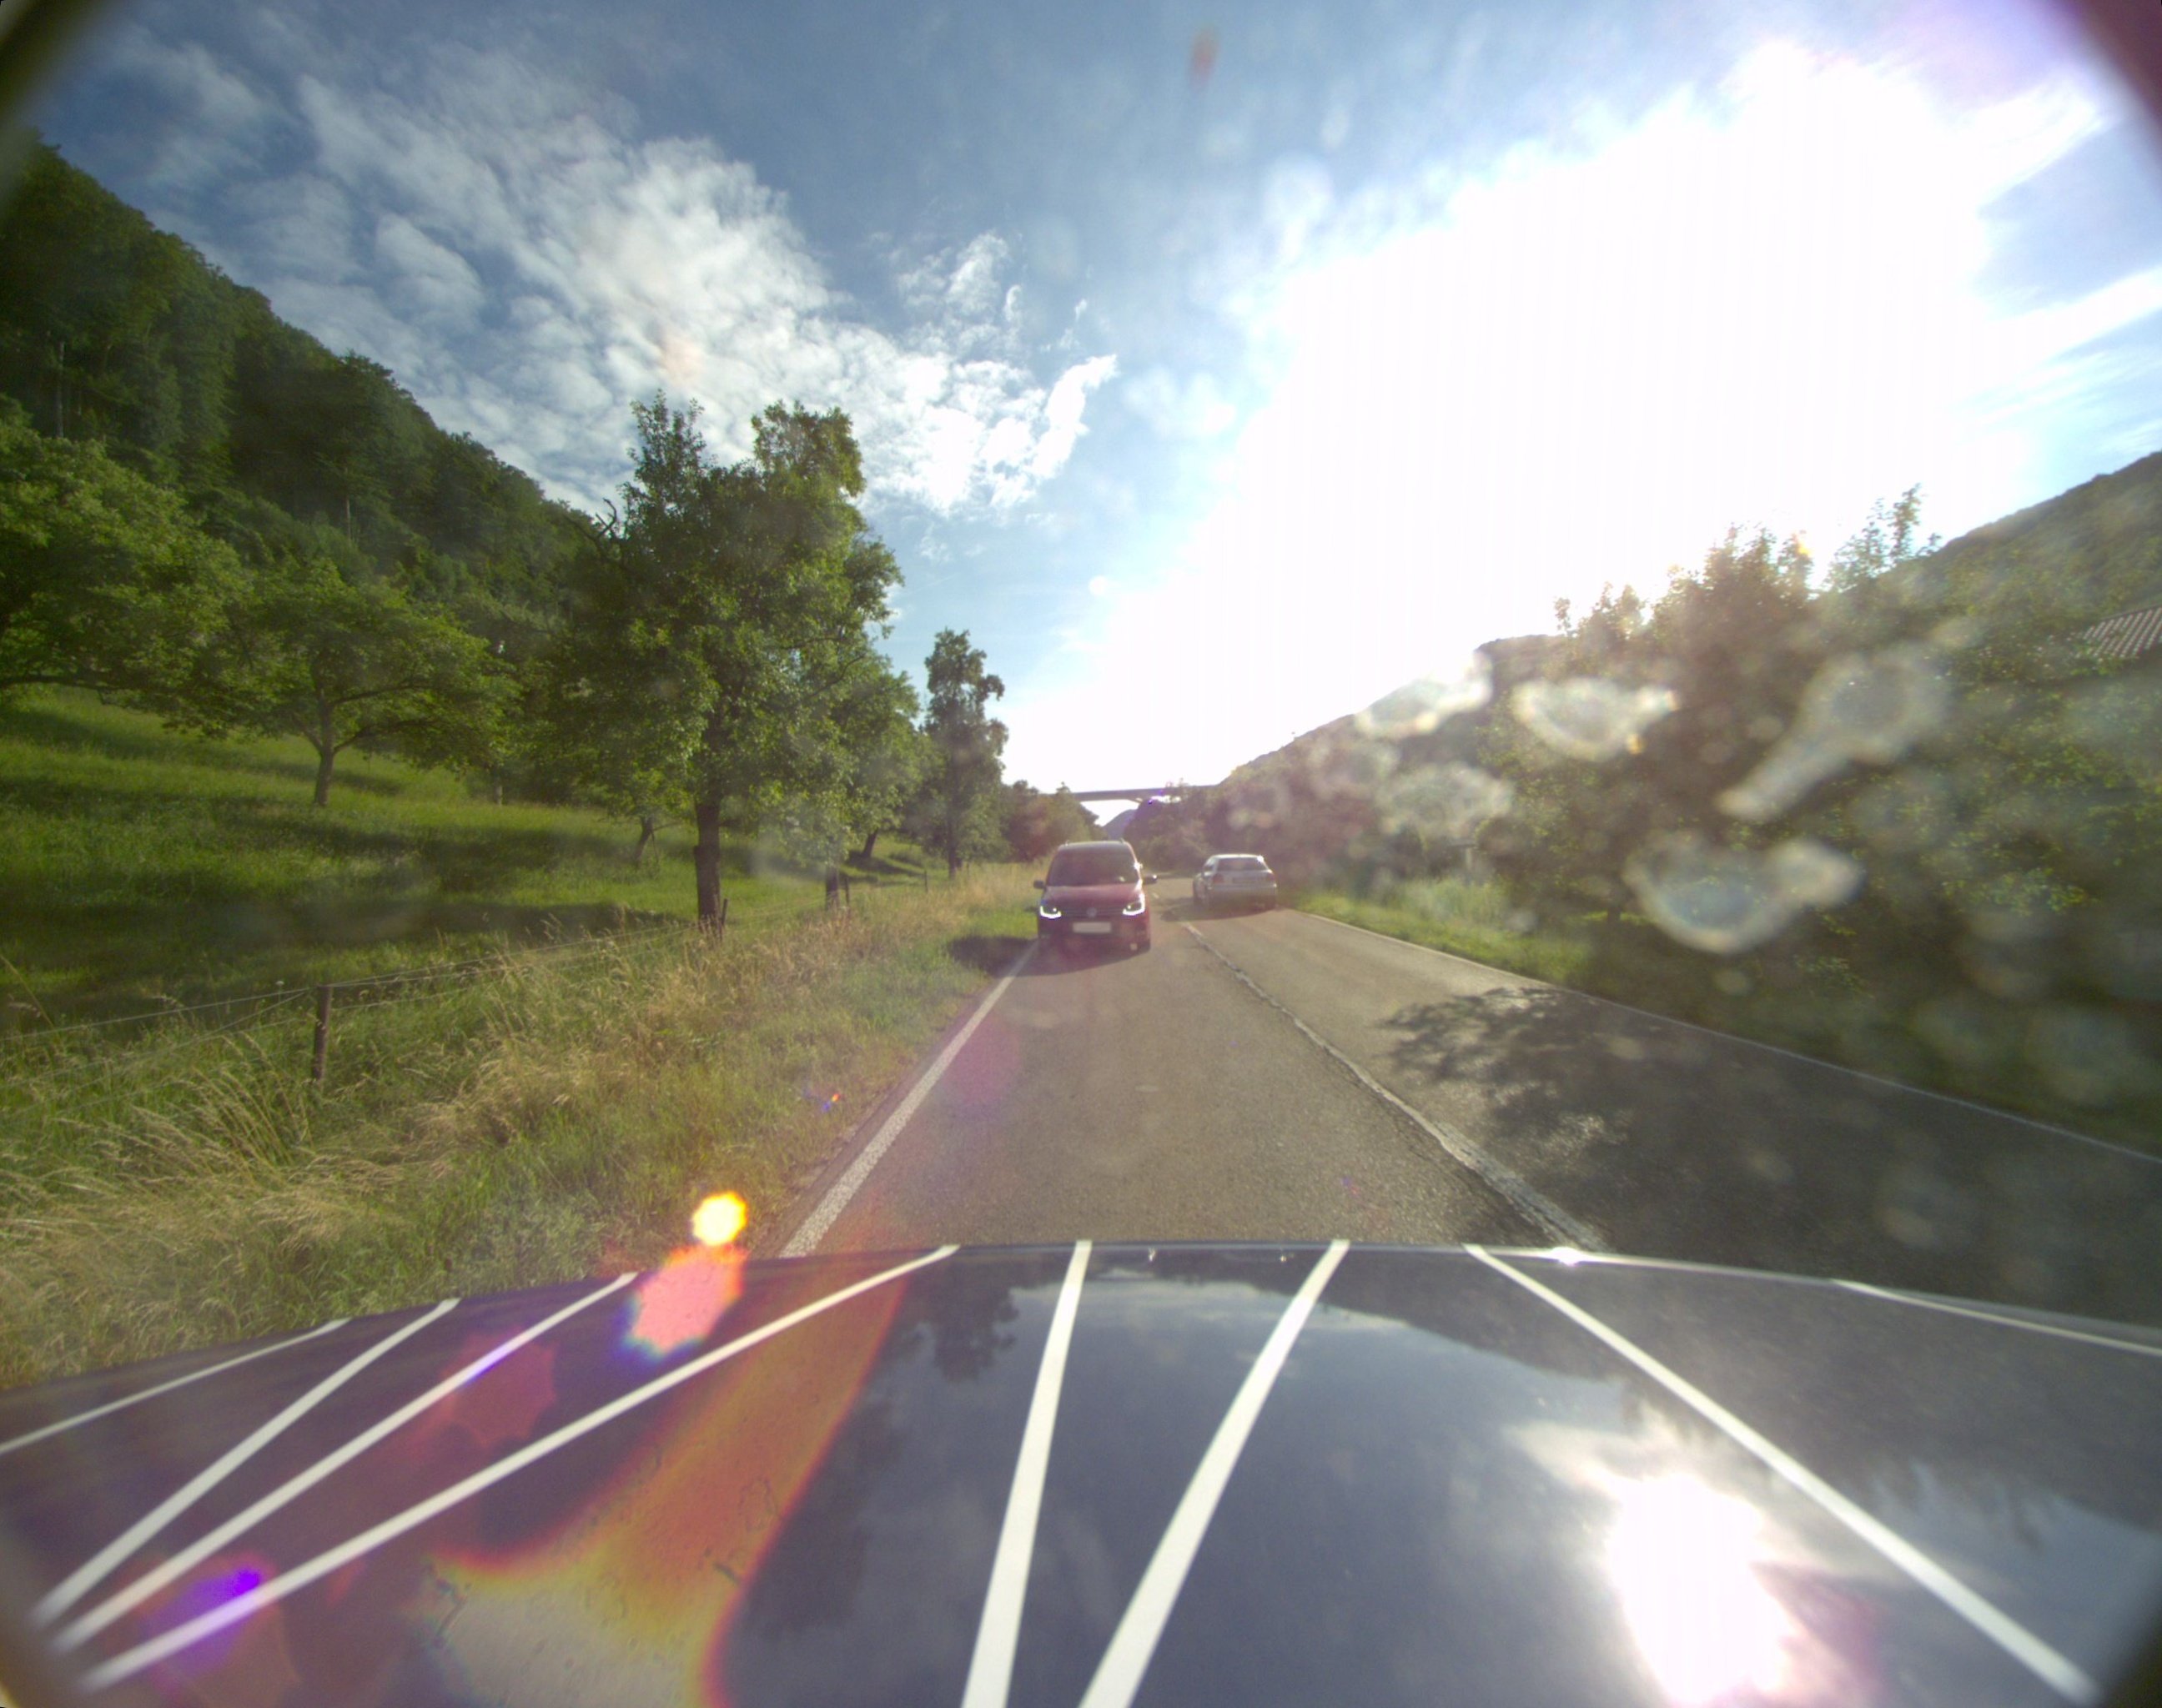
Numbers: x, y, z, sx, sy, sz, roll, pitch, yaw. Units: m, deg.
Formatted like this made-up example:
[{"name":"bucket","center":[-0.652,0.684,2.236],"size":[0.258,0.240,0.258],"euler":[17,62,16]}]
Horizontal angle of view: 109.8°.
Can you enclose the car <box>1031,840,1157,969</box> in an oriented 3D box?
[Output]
[{"name":"car","center":[0.195,0.739,12.980],"size":[1.741,1.803,4.000],"euler":[-2,0,0]}]

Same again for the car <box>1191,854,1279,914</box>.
[{"name":"car","center":[4.002,0.726,20.222],"size":[1.696,1.401,3.663],"euler":[-1,0,2]}]
